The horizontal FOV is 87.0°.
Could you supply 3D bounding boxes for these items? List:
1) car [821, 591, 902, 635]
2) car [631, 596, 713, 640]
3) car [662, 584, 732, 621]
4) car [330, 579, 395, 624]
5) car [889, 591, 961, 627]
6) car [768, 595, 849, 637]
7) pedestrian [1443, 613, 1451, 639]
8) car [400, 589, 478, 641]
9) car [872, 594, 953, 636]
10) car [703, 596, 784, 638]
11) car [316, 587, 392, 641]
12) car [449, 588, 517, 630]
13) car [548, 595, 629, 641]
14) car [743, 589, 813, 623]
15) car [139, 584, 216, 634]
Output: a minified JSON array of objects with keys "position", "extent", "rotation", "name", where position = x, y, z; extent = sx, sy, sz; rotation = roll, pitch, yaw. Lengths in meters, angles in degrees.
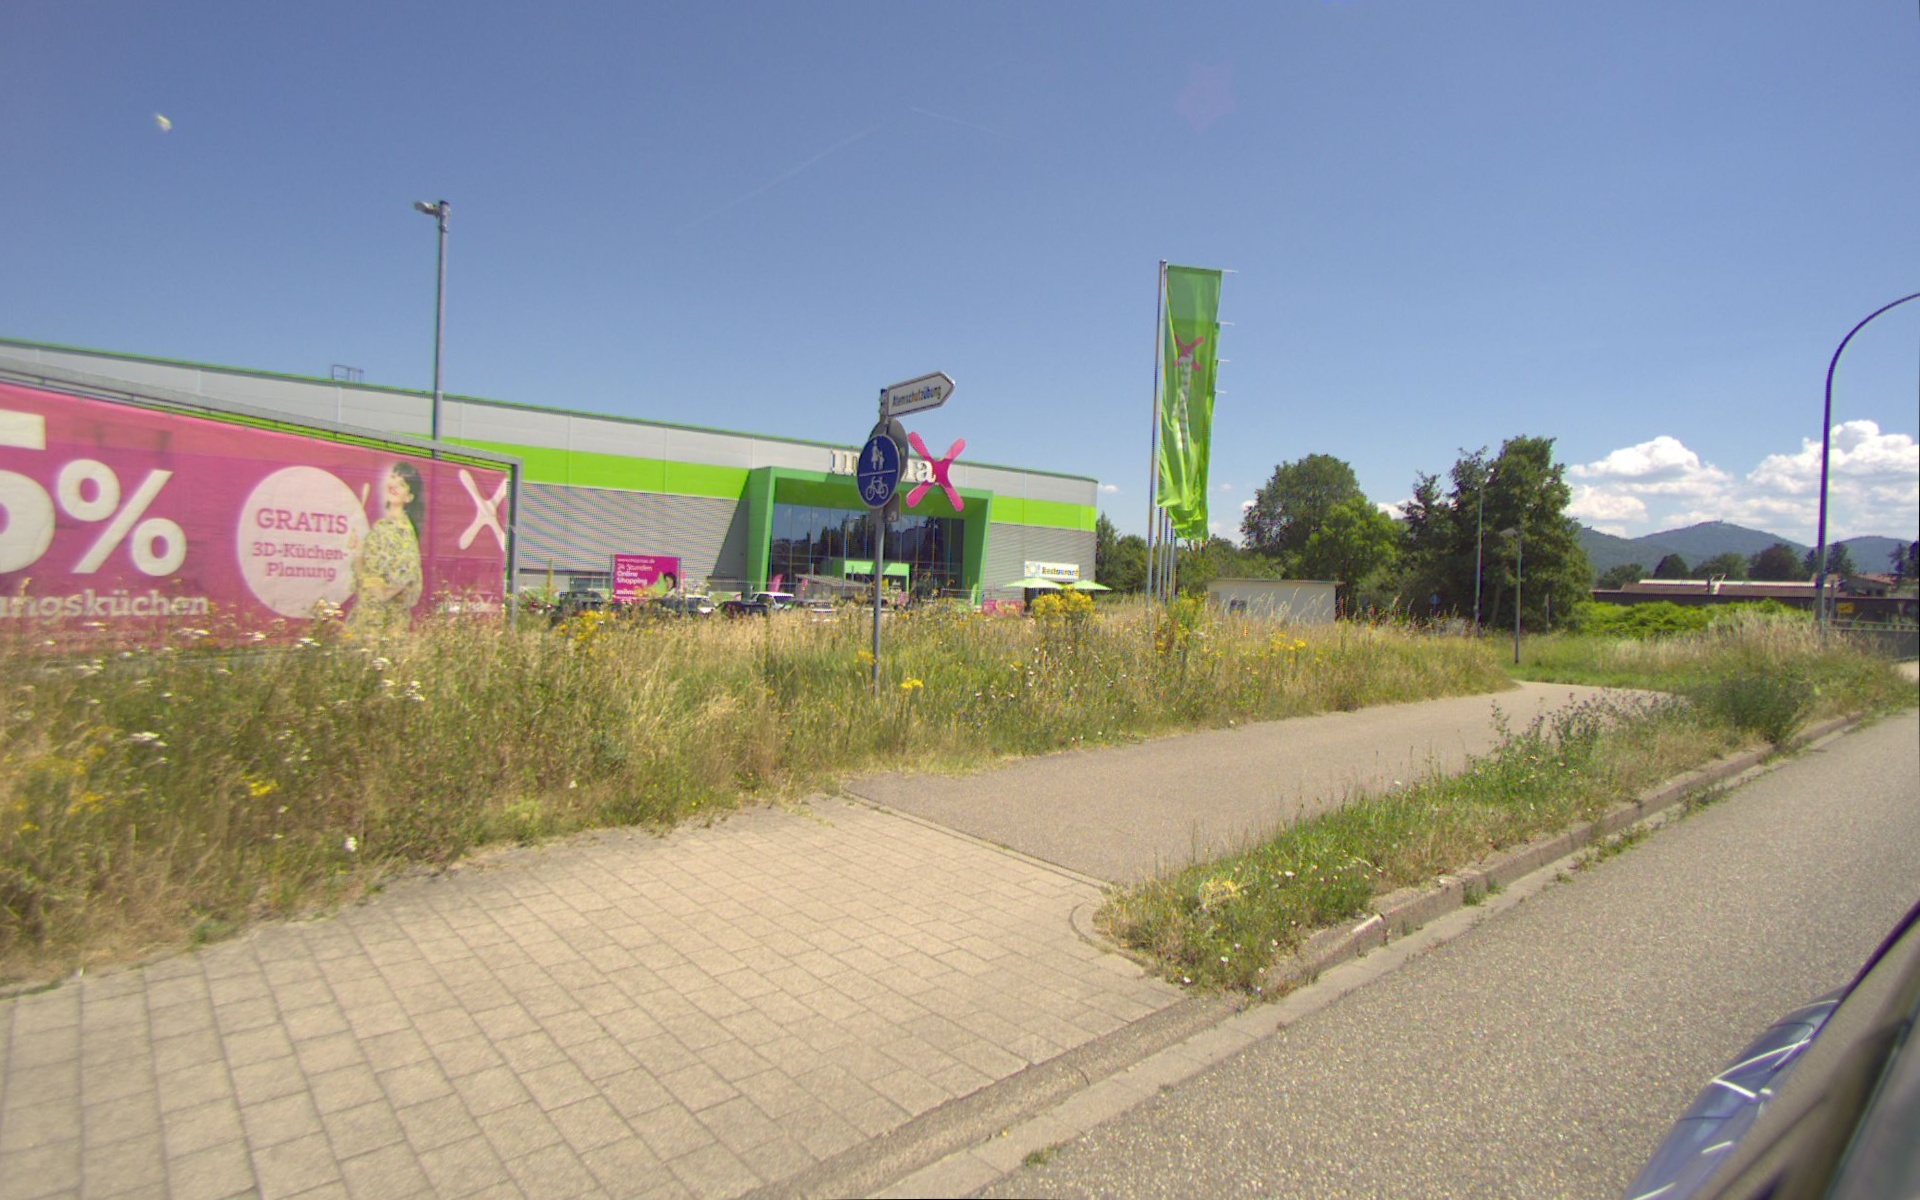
[{"position":[-4.459,0.557,45.287],"extent":[1.879,1.718,4.002],"rotation":[0,2,-35],"name":"car"},{"position":[-11.409,0.685,39.946],"extent":[1.910,1.480,4.002],"rotation":[0,2,-35],"name":"car"},{"position":[-12.481,0.087,47.925],"extent":[1.910,1.523,4.002],"rotation":[0,2,-35],"name":"car"},{"position":[-23.473,0.027,39.678],"extent":[1.910,1.523,4.002],"rotation":[0,2,-35],"name":"car"},{"position":[-1.890,0.442,53.477],"extent":[1.879,1.674,4.002],"rotation":[0,2,-35],"name":"car"},{"position":[-6.665,0.647,44.180],"extent":[1.879,1.566,4.002],"rotation":[0,2,-35],"name":"car"},{"position":[30.041,1.610,62.424],"extent":[0.433,1.558,0.411],"rotation":[1,-3,21],"name":"pedestrian"},{"position":[-18.267,0.486,35.378],"extent":[1.910,1.550,4.002],"rotation":[0,2,-35],"name":"car"},{"position":[-2.260,0.652,46.911],"extent":[1.879,1.674,4.002],"rotation":[0,2,-35],"name":"car"},{"position":[-9.076,0.668,42.178],"extent":[1.879,1.480,4.002],"rotation":[0,2,-35],"name":"car"},{"position":[-20.143,0.415,33.575],"extent":[1.910,1.550,4.002],"rotation":[0,2,-35],"name":"car"},{"position":[-19.812,0.321,41.992],"extent":[1.910,1.523,4.002],"rotation":[0,2,-35],"name":"car"},{"position":[-14.099,0.623,38.263],"extent":[1.910,1.480,4.002],"rotation":[0,2,-35],"name":"car"},{"position":[-9.153,0.277,50.688],"extent":[1.910,1.523,4.002],"rotation":[0,2,-35],"name":"car"},{"position":[-27.883,0.265,36.195],"extent":[1.962,1.537,4.422],"rotation":[0,2,-35],"name":"car"}]
